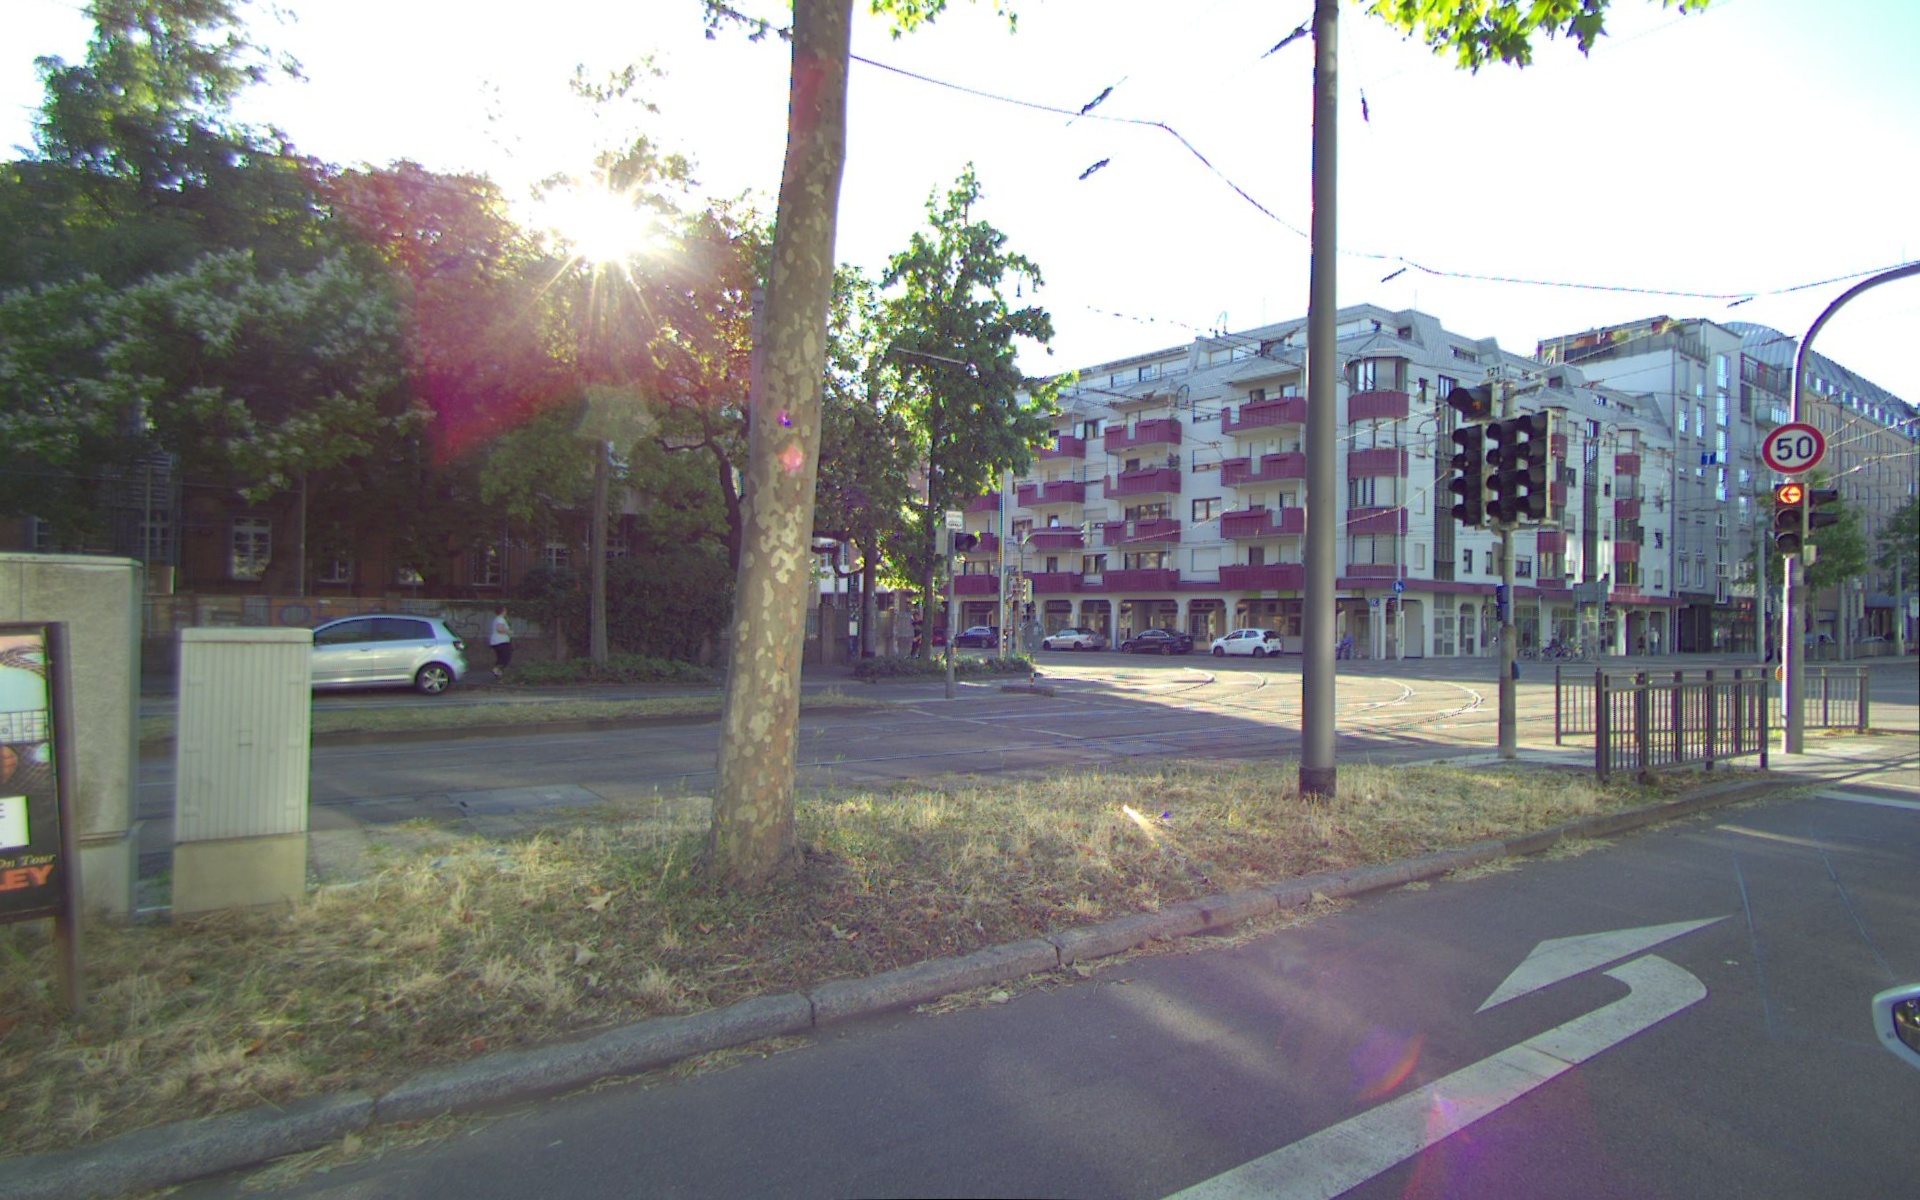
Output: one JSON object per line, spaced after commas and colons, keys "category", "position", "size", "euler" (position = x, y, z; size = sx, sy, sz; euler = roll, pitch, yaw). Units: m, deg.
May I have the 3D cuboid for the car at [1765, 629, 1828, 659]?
{"category": "car", "position": [50.441, 2.618, 60.533], "size": [4.219, 1.695, 1.942], "euler": [1, -1, -36]}

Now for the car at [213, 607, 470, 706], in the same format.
{"category": "car", "position": [-12.004, 1.042, 19.586], "size": [4.062, 1.641, 2.065], "euler": [2, 1, -38]}

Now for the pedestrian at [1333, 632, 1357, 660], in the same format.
{"category": "pedestrian", "position": [19.109, 2.281, 49.886], "size": [0.848, 1.402, 0.831], "euler": [0, -1, 45]}

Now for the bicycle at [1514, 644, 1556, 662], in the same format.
{"category": "bicycle", "position": [29.480, 2.697, 51.518], "size": [0.547, 0.865, 1.833], "euler": [1, -1, -32]}

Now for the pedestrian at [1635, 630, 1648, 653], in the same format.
{"category": "pedestrian", "position": [44.318, 2.686, 65.323], "size": [0.582, 1.514, 0.530], "euler": [1, -1, -38]}

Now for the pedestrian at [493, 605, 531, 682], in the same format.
{"category": "pedestrian", "position": [-10.161, 0.973, 22.780], "size": [0.626, 1.687, 0.563], "euler": [1, 1, -37]}

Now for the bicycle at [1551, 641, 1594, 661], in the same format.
{"category": "bicycle", "position": [31.967, 2.642, 52.443], "size": [0.548, 0.998, 1.830], "euler": [1, -1, -36]}

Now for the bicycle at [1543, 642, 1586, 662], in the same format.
{"category": "bicycle", "position": [31.411, 2.685, 52.192], "size": [0.548, 0.998, 1.830], "euler": [1, -1, -36]}

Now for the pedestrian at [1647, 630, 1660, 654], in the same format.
{"category": "pedestrian", "position": [44.731, 2.696, 64.802], "size": [0.582, 1.514, 0.530], "euler": [1, -1, -38]}

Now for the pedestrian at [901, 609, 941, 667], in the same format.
{"category": "pedestrian", "position": [-1.235, 1.192, 31.763], "size": [1.010, 1.775, 0.728], "euler": [1, -1, -38]}

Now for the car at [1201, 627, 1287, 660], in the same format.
{"category": "car", "position": [14.878, 2.255, 52.754], "size": [1.986, 1.576, 3.950], "euler": [2, -2, -42]}

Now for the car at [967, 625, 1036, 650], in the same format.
{"category": "car", "position": [2.709, 2.429, 66.224], "size": [1.986, 1.576, 4.527], "euler": [2, -2, -42]}

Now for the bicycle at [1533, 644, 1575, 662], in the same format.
{"category": "bicycle", "position": [30.398, 2.693, 51.438], "size": [0.547, 0.865, 1.833], "euler": [1, -1, -32]}

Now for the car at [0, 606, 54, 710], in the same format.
{"category": "car", "position": [-16.946, 0.870, 15.361], "size": [4.418, 1.522, 2.065], "euler": [2, 1, -38]}

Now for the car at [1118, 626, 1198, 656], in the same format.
{"category": "car", "position": [11.149, 2.281, 56.598], "size": [1.986, 1.576, 4.072], "euler": [2, -2, -42]}

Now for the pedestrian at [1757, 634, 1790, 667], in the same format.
{"category": "pedestrian", "position": [39.654, 2.464, 48.967], "size": [0.685, 1.564, 1.042], "euler": [1, -1, -27]}

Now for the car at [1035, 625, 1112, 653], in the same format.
{"category": "car", "position": [6.876, 2.364, 61.185], "size": [1.986, 1.576, 4.527], "euler": [2, -2, -42]}

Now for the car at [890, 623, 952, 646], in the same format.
{"category": "car", "position": [-2.822, 2.462, 72.195], "size": [1.986, 1.576, 4.527], "euler": [2, -2, -42]}
